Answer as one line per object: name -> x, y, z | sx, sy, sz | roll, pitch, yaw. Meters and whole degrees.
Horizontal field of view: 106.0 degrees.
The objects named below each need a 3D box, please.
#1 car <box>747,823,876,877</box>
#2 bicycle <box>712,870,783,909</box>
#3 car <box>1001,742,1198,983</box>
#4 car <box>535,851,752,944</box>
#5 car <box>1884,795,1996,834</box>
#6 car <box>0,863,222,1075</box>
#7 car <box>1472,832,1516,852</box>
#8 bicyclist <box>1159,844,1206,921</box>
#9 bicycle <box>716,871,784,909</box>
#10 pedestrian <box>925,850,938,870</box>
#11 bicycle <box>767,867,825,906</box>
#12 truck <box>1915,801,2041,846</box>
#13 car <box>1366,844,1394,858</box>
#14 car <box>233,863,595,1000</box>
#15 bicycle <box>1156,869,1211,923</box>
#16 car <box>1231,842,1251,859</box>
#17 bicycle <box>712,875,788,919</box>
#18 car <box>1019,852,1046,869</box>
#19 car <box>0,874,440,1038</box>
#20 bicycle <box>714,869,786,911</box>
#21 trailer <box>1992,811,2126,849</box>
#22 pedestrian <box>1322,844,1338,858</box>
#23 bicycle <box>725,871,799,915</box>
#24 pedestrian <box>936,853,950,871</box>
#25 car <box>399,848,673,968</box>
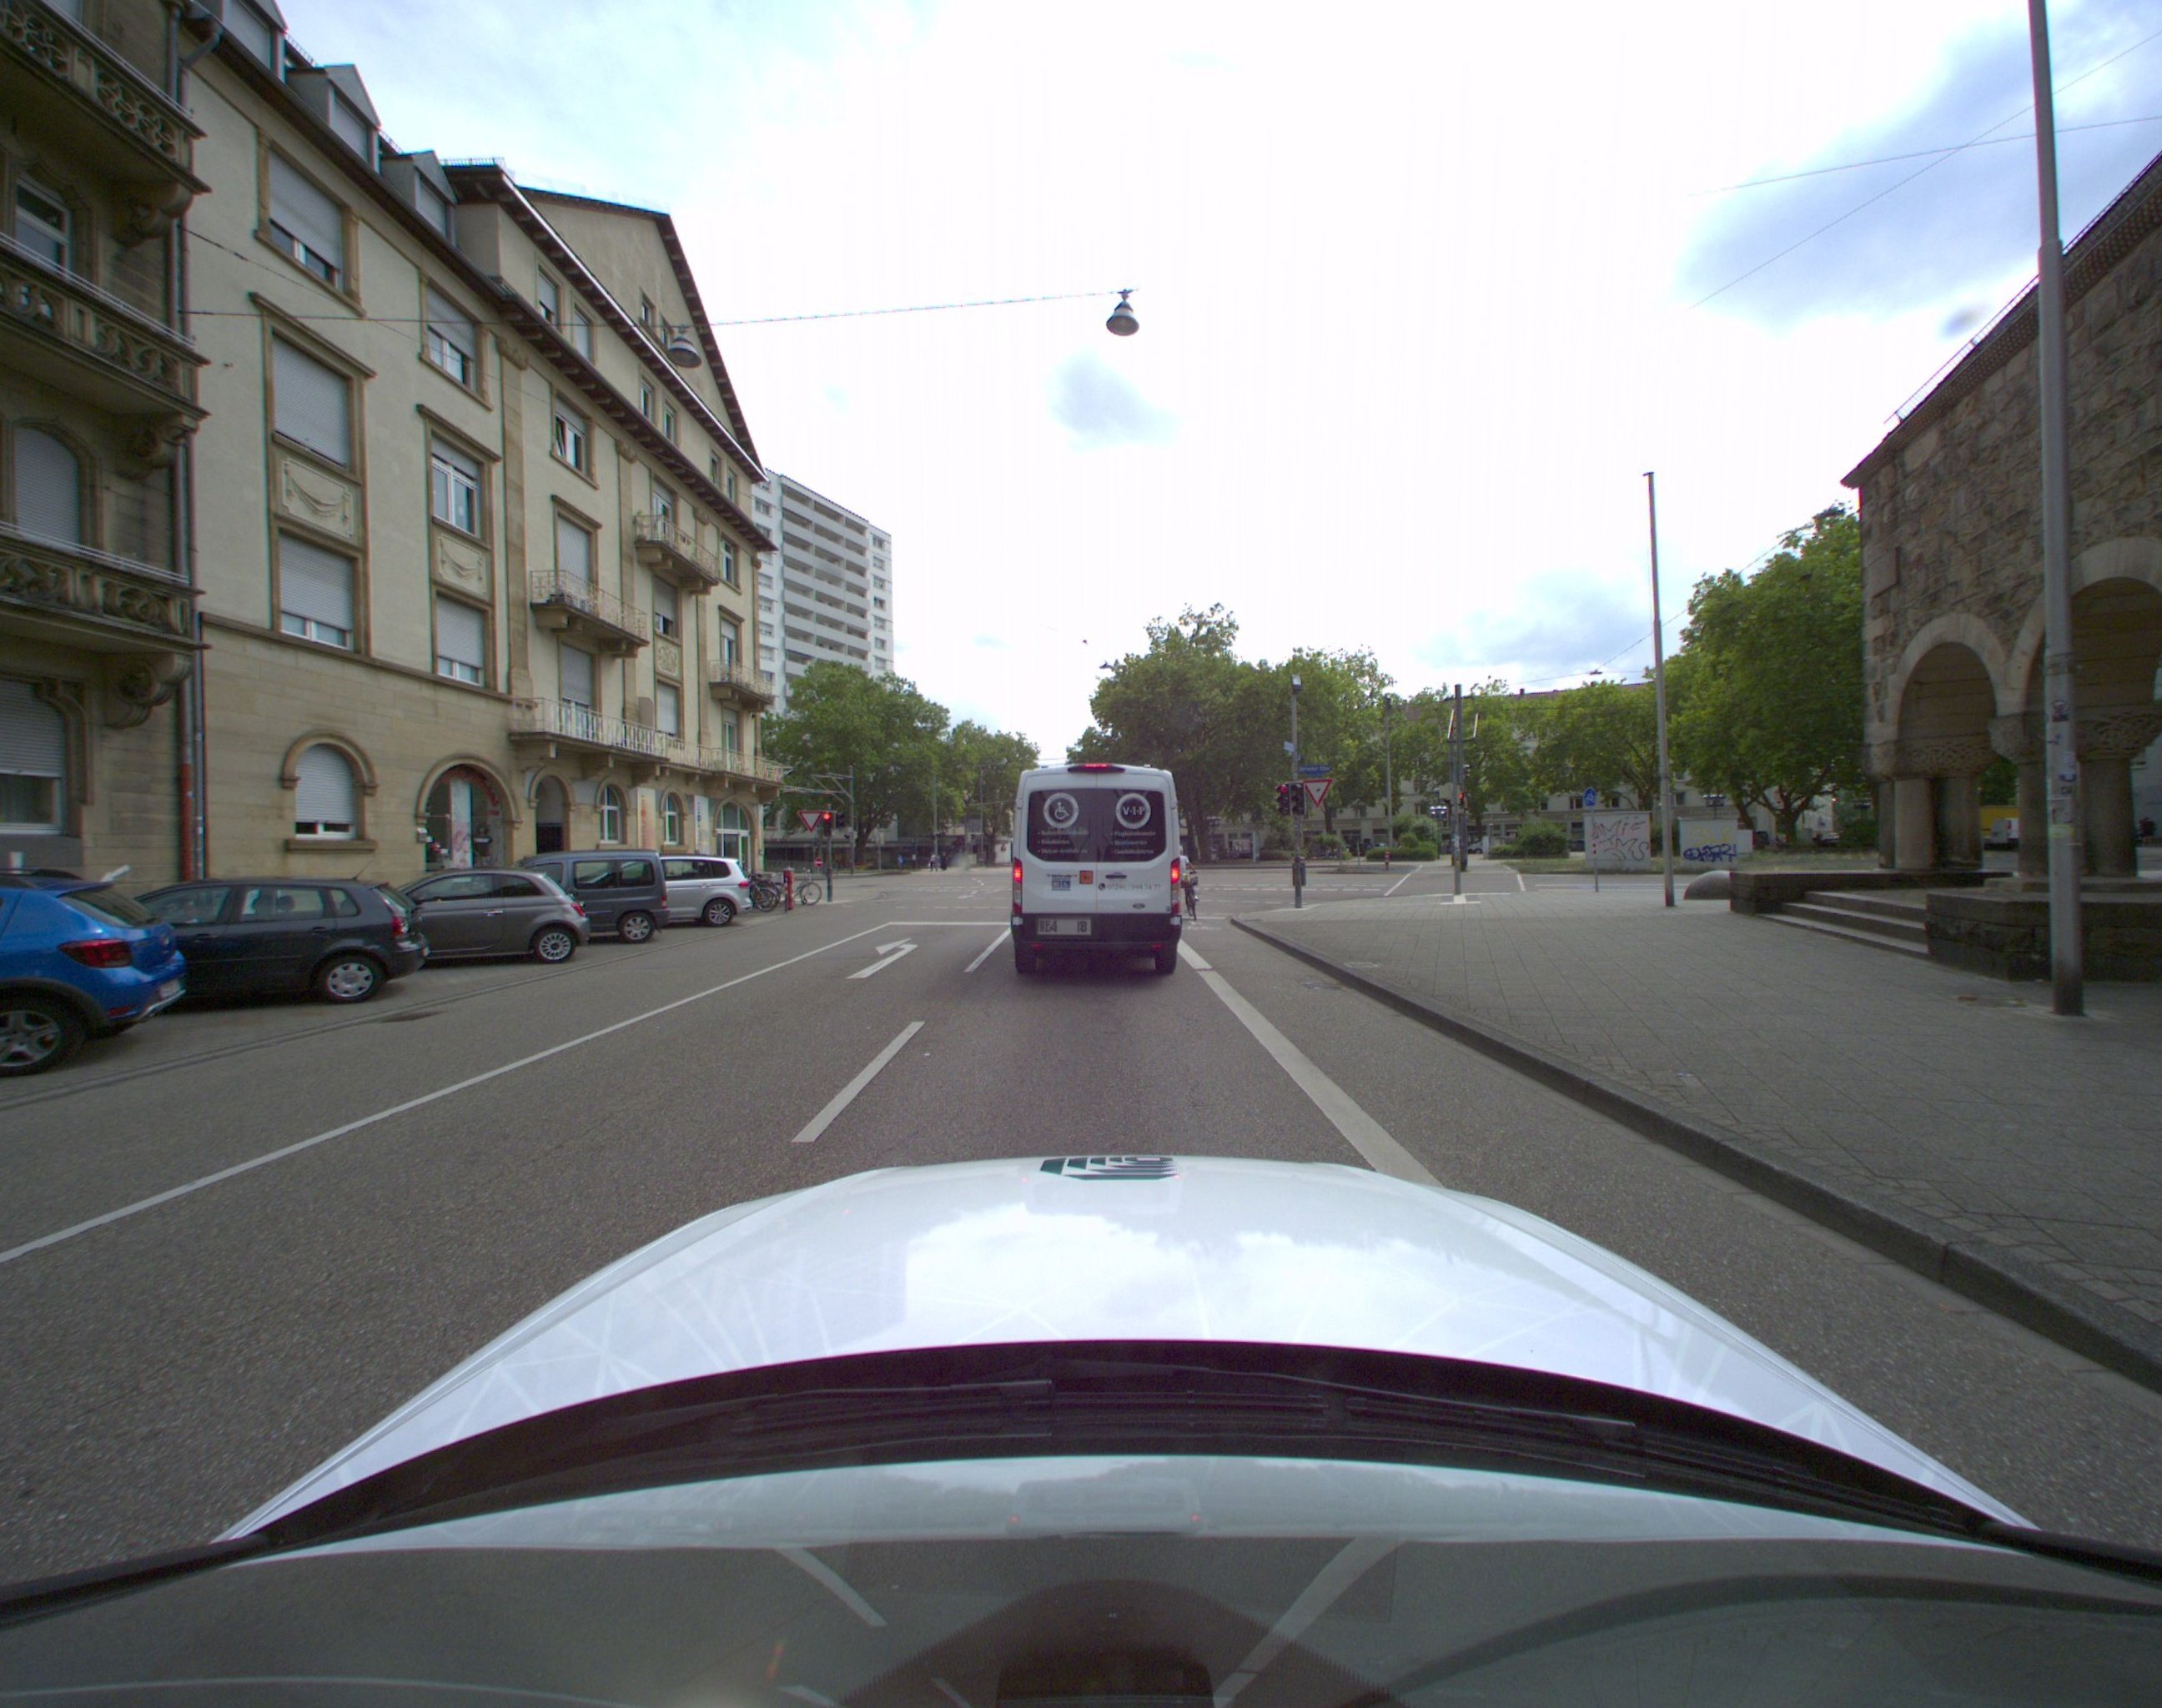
car -> -21.307, -0.305, 64.275 | 9.794, 3.915, 3.475 | -1, 0, 25
bicycle -> -9.845, 1.055, 24.083 | 1.808, 1.120, 0.593 | 0, 0, -8
car -> 0.182, 0.050, 11.288 | 2.175, 2.647, 4.627 | 0, 1, -1
car -> -9.765, 0.883, 18.324 | 4.032, 1.773, 1.776 | -2, 0, -39
car -> 63.862, -2.896, 60.676 | 5.272, 2.585, 2.191 | -2, -1, 23
car -> -9.855, 0.956, 6.521 | 3.795, 1.651, 1.705 | -2, 0, -36
car -> 42.589, -1.232, 83.993 | 3.950, 1.883, 1.868 | -2, 0, 25
bicyclist -> 2.270, 0.622, 18.319 | 0.901, 1.683, 0.756 | -2, 0, -3
bicycle -> -10.046, 1.098, 24.780 | 1.808, 1.120, 0.593 | 0, 0, -8
pedestrian -> -12.599, 0.503, 68.743 | 0.801, 1.572, 0.726 | -2, 0, 14
bicycle -> -9.069, 1.027, 25.896 | 1.859, 1.167, 0.500 | 0, 0, 21
truck -> 57.831, -1.902, 52.740 | 3.043, 2.577, 6.548 | -2, 0, 24
car -> 34.344, -0.351, 93.684 | 1.984, 1.503, 4.006 | -2, 0, 5
car -> -9.948, 1.027, 12.517 | 4.032, 1.651, 1.776 | -2, 0, -39
bicycle -> 2.276, 0.914, 18.387 | 0.900, 1.075, 1.968 | -2, 0, -2
car -> 19.585, -0.411, 100.090 | 1.984, 1.930, 4.006 | -2, 0, 5
bicycle -> -8.960, 1.163, 22.060 | 1.800, 1.120, 0.595 | -2, 0, 7
car -> -4.490, 0.565, 75.743 | 1.612, 1.476, 4.010 | -2, 1, 8
car -> -9.992, 1.040, 9.426 | 3.920, 1.443, 1.817 | -2, 0, -36
bicycle -> -9.525, 1.040, 23.471 | 1.808, 1.166, 0.593 | 0, 0, -8
trailer -> 54.754, -1.297, 45.712 | 4.381, 1.925, 1.865 | -2, 0, 25
pedestrian -> 23.174, -0.236, 75.920 | 1.086, 1.236, 1.443 | -3, -1, 5
bicycle -> -8.904, 1.075, 22.731 | 1.801, 1.120, 0.595 | 2, 0, 4
pedestrian -> -11.647, 0.683, 68.672 | 0.923, 1.514, 0.726 | -2, 0, 15
car -> -10.028, 0.881, 15.189 | 4.032, 1.878, 1.776 | -2, 0, -39
